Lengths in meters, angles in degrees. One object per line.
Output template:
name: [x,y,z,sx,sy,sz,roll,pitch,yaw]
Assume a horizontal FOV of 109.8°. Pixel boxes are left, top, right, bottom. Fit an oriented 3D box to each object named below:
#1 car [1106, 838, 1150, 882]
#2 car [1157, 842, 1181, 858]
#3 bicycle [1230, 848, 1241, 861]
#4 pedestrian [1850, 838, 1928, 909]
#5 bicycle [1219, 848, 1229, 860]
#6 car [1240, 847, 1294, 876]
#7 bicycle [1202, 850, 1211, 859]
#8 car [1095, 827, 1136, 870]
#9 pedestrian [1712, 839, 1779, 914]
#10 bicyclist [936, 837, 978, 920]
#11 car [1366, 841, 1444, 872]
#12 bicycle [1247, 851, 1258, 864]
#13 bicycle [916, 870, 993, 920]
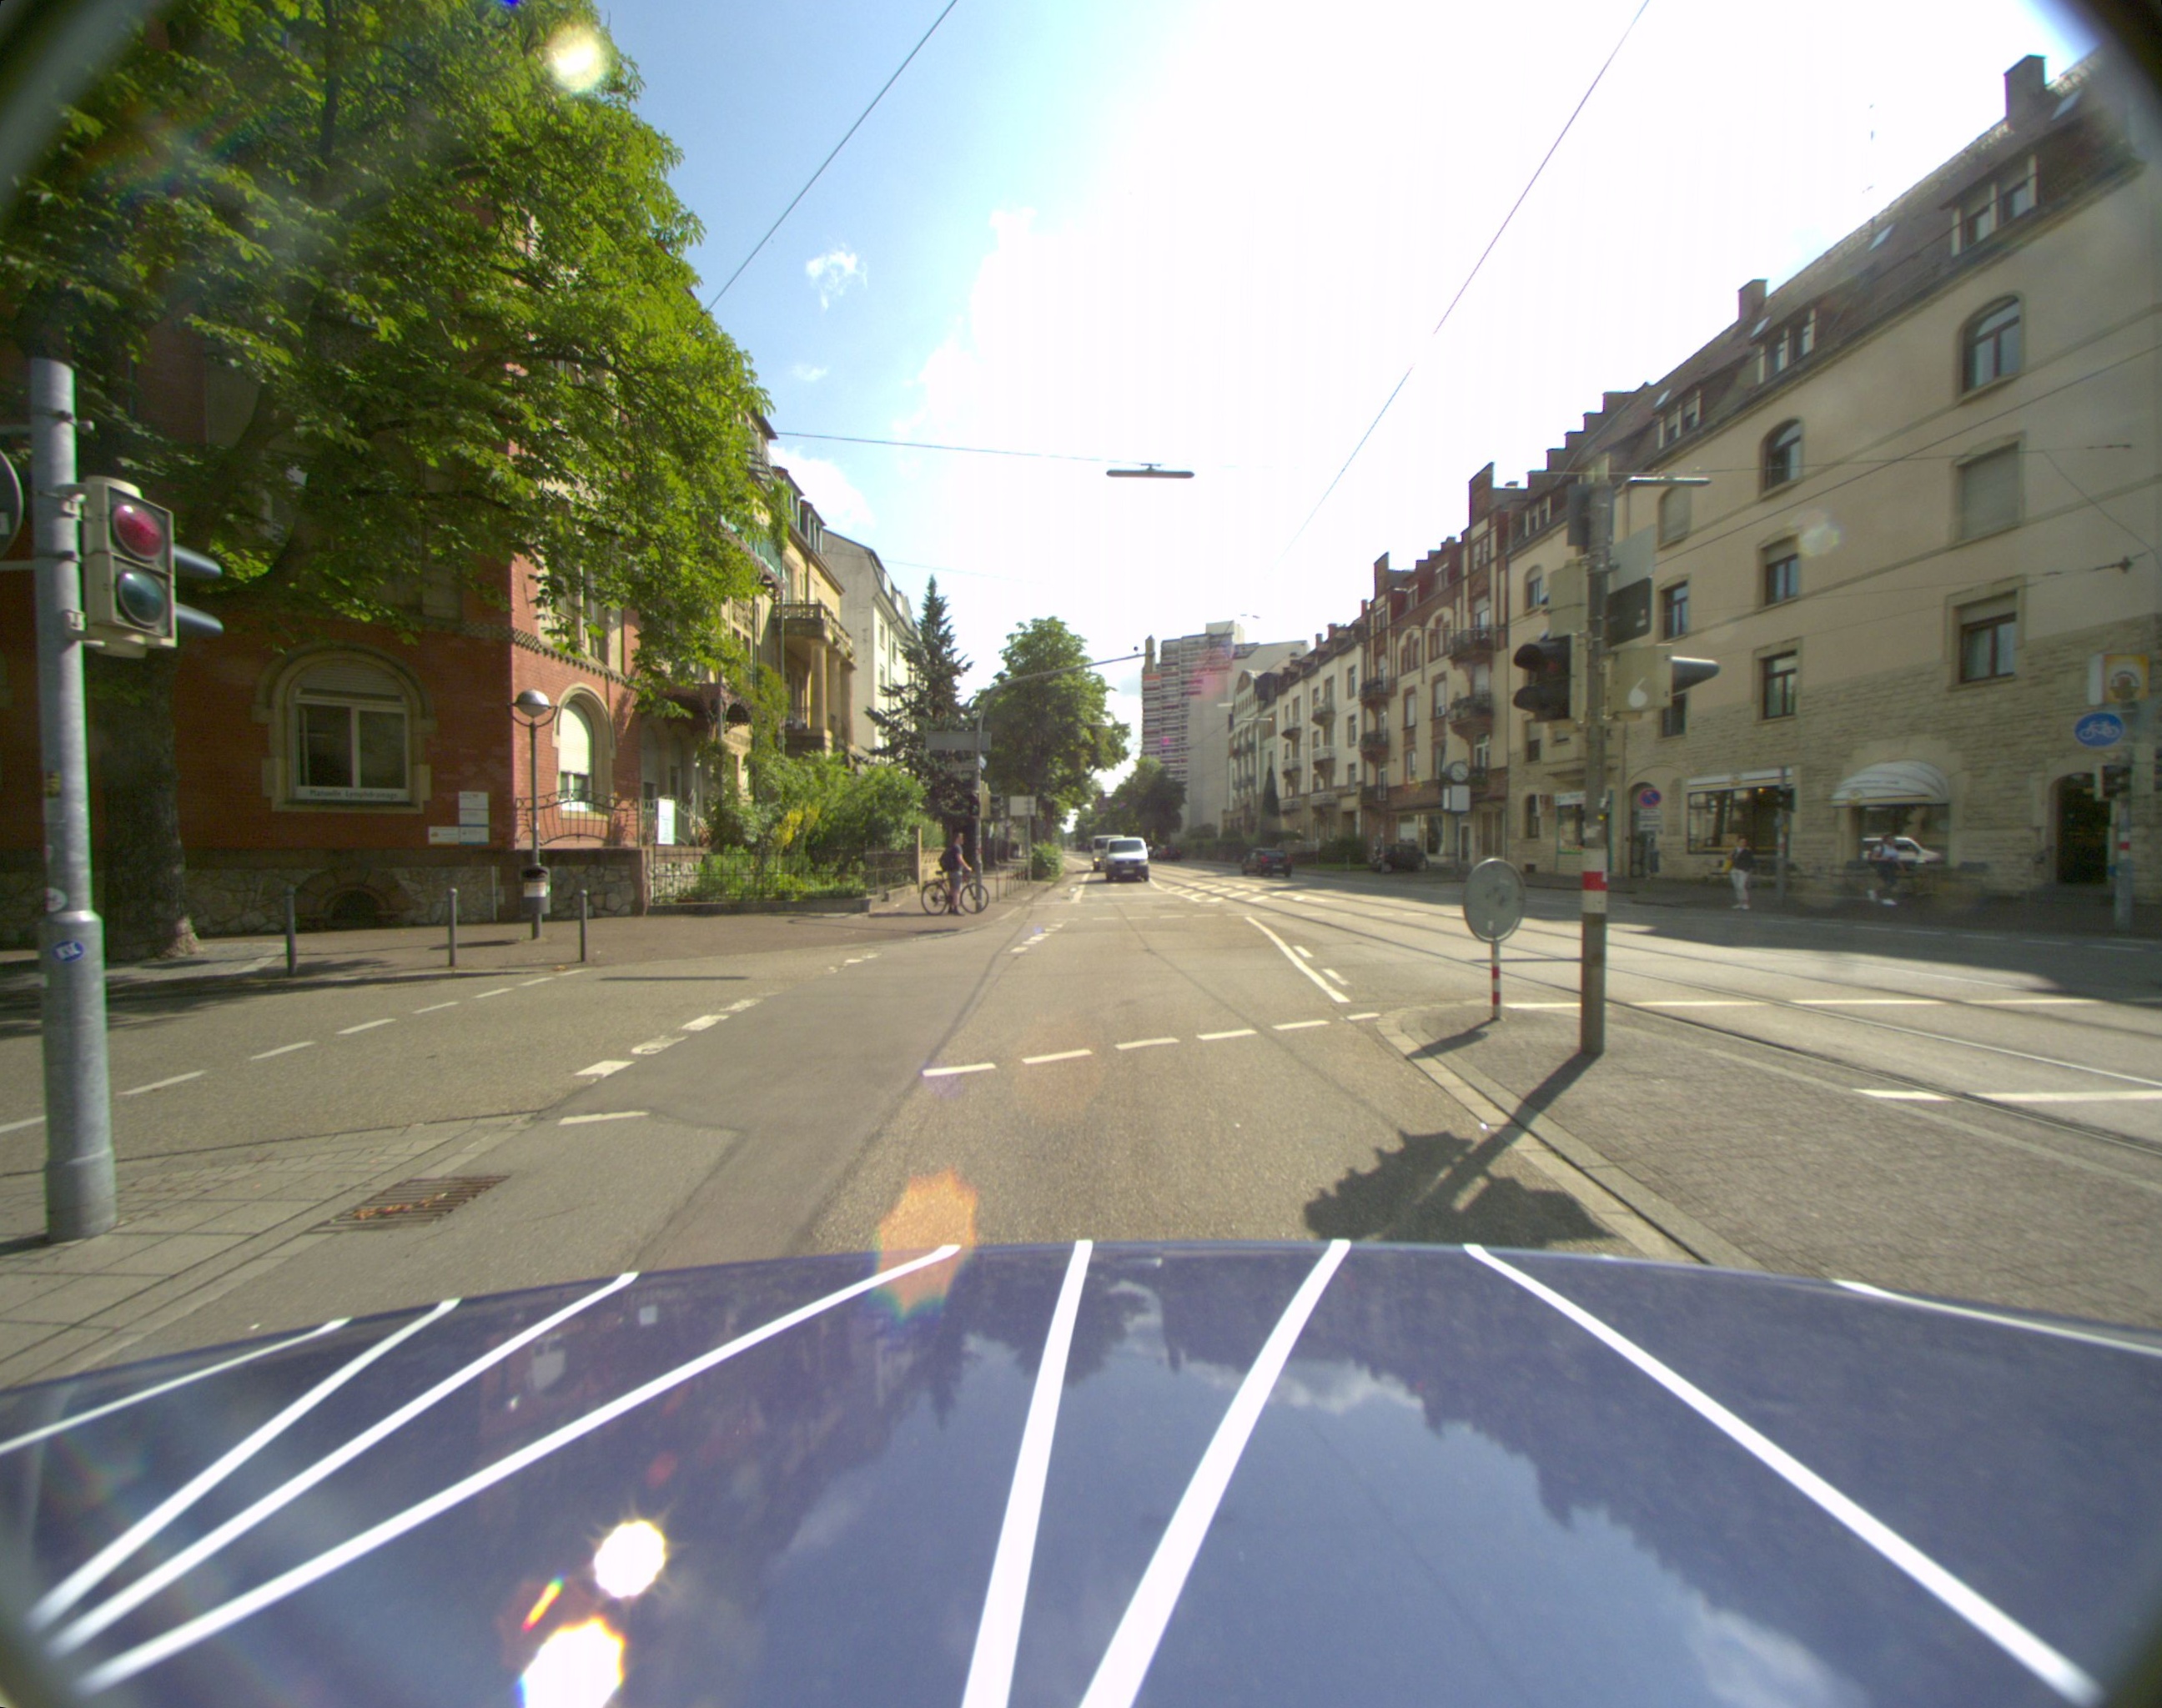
car: [2.140,0.217,34.489,1.831,1.856,4.846,-1,1,4]
car: [9.412,-0.435,81.623,1.796,1.701,4.329,0,1,-3]
bicycle: [13.090,0.040,64.415,0.539,1.024,1.872,0,2,2]
pedestrian: [18.452,0.437,17.379,0.695,1.533,0.963,-4,1,-1]
bicycle: [12.991,0.009,68.900,0.587,0.980,1.872,0,2,2]
car: [9.457,0.350,38.848,1.629,1.379,3.434,1,1,-6]
bicycle: [12.332,0.034,74.912,0.587,0.792,1.872,-3,2,2]
car: [2.112,-0.350,48.428,2.168,2.572,5.662,0,1,-2]
pedestrian: [15.923,0.520,18.234,0.758,1.695,0.873,-4,1,-3]
bicyclist: [-2.780,0.525,16.991,0.736,1.809,0.819,-1,1,-25]
car: [17.428,0.118,40.953,3.453,1.478,1.706,-2,1,-1]
bicycle: [13.230,0.268,58.618,0.524,0.901,2.066,0,3,5]
bicycle: [-2.784,0.887,16.930,0.389,1.029,1.849,1,1,42]
